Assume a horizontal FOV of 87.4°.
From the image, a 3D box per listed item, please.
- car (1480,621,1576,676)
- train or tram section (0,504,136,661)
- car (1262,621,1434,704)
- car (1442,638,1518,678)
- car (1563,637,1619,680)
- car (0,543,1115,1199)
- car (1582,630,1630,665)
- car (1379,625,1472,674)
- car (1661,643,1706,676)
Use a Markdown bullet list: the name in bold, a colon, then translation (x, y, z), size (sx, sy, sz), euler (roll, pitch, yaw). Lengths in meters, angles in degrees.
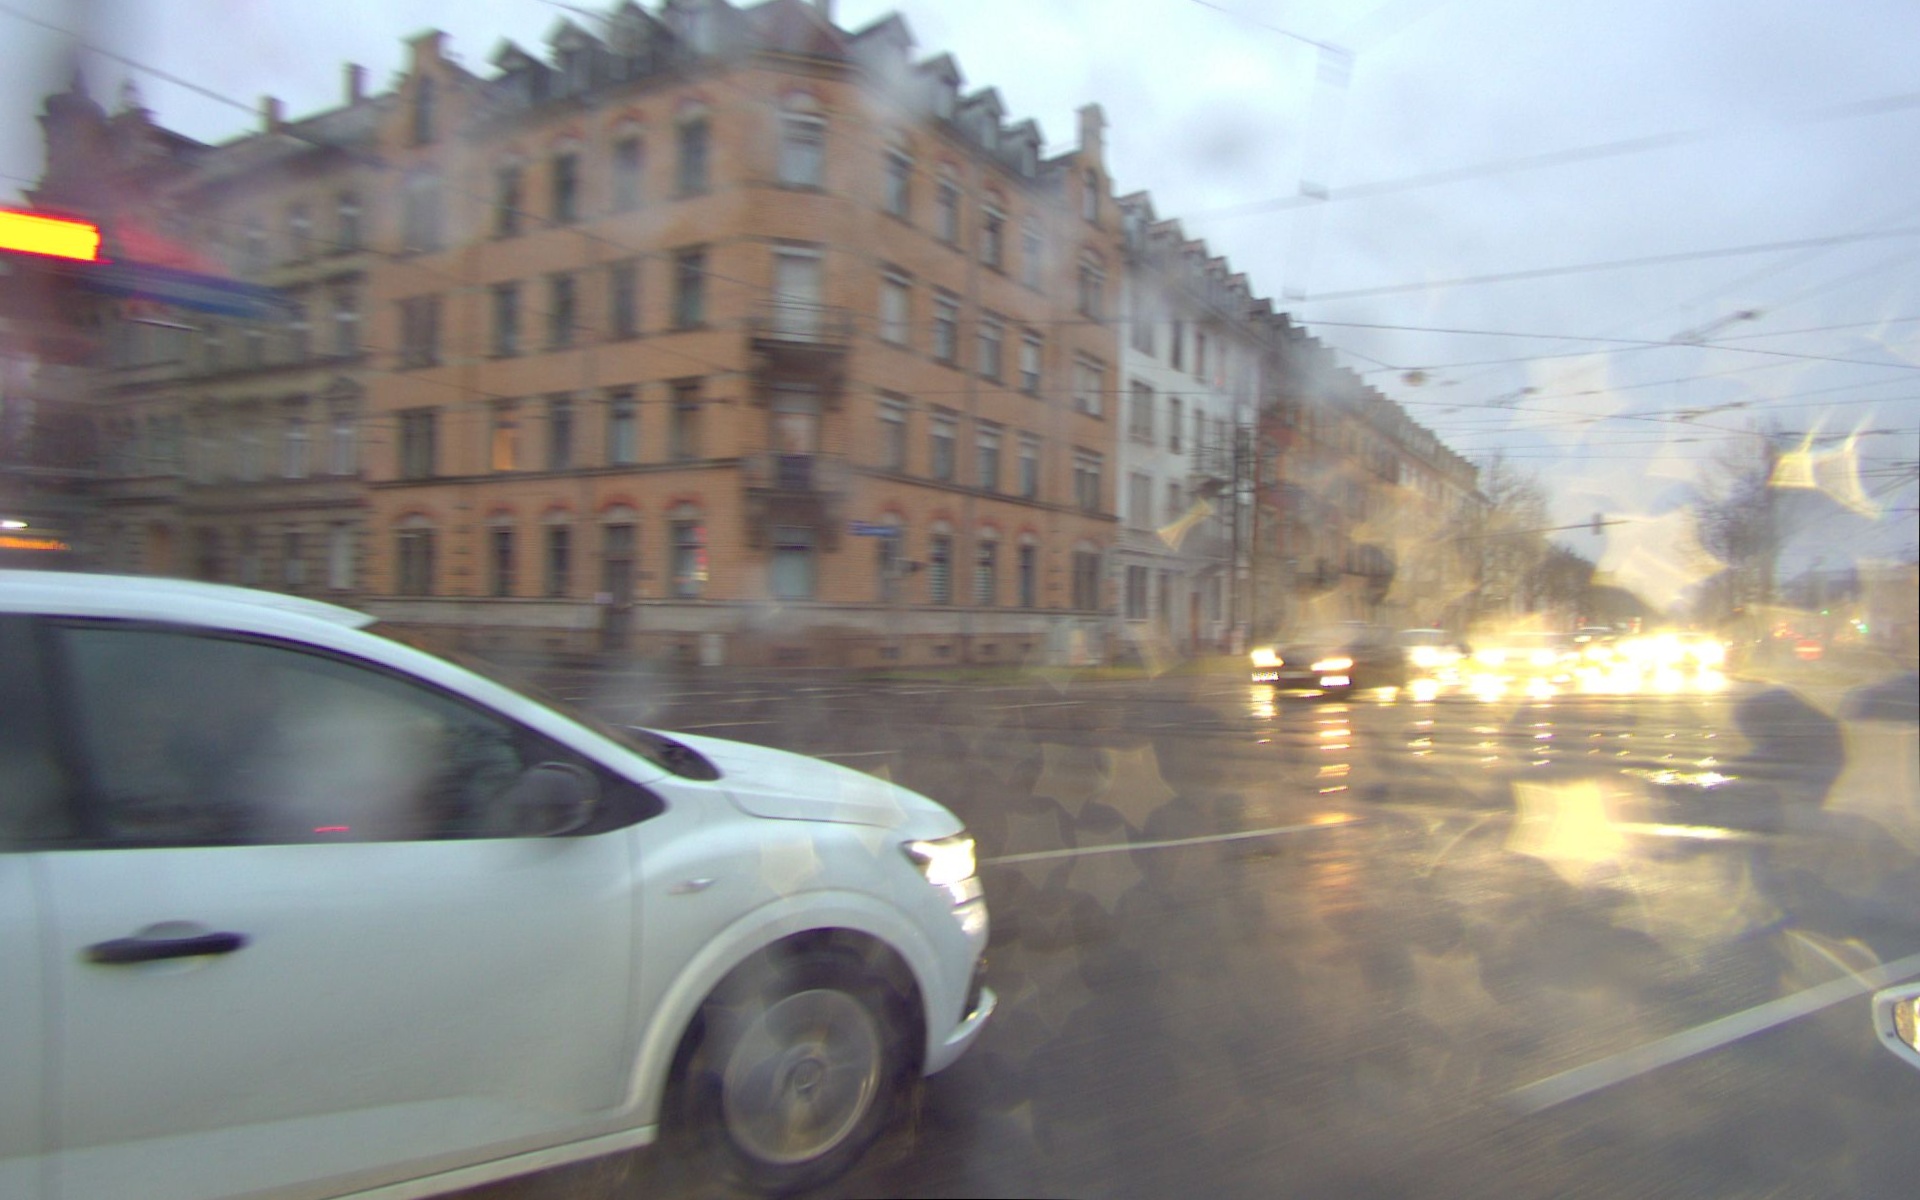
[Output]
- **car**: translation (16.849, 1.394, 29.689), size (1.661, 1.476, 4.313), euler (0, -1, 41)
- **train or tram section**: translation (-26.525, -0.612, 24.990), size (16.007, 3.231, 3.165), euler (2, 0, 27)
- **car**: translation (7.876, 1.207, 20.196), size (4.035, 1.476, 1.664), euler (2, -1, -44)
- **car**: translation (19.603, 2.125, 37.754), size (1.660, 1.372, 4.368), euler (0, -1, 40)
- **car**: translation (24.252, 2.209, 38.579), size (1.469, 1.506, 3.140), euler (1, -1, 38)
- **car**: translation (-1.648, 0.670, 2.591), size (3.954, 1.507, 1.618), euler (1, -1, -31)
- **car**: translation (31.055, 2.263, 48.259), size (1.658, 1.573, 4.107), euler (1, -1, 37)
- **car**: translation (14.589, 1.515, 31.415), size (1.661, 1.410, 3.594), euler (0, -1, 42)
- **car**: translation (31.453, 2.569, 43.734), size (1.516, 1.262, 4.074), euler (0, -1, 35)
